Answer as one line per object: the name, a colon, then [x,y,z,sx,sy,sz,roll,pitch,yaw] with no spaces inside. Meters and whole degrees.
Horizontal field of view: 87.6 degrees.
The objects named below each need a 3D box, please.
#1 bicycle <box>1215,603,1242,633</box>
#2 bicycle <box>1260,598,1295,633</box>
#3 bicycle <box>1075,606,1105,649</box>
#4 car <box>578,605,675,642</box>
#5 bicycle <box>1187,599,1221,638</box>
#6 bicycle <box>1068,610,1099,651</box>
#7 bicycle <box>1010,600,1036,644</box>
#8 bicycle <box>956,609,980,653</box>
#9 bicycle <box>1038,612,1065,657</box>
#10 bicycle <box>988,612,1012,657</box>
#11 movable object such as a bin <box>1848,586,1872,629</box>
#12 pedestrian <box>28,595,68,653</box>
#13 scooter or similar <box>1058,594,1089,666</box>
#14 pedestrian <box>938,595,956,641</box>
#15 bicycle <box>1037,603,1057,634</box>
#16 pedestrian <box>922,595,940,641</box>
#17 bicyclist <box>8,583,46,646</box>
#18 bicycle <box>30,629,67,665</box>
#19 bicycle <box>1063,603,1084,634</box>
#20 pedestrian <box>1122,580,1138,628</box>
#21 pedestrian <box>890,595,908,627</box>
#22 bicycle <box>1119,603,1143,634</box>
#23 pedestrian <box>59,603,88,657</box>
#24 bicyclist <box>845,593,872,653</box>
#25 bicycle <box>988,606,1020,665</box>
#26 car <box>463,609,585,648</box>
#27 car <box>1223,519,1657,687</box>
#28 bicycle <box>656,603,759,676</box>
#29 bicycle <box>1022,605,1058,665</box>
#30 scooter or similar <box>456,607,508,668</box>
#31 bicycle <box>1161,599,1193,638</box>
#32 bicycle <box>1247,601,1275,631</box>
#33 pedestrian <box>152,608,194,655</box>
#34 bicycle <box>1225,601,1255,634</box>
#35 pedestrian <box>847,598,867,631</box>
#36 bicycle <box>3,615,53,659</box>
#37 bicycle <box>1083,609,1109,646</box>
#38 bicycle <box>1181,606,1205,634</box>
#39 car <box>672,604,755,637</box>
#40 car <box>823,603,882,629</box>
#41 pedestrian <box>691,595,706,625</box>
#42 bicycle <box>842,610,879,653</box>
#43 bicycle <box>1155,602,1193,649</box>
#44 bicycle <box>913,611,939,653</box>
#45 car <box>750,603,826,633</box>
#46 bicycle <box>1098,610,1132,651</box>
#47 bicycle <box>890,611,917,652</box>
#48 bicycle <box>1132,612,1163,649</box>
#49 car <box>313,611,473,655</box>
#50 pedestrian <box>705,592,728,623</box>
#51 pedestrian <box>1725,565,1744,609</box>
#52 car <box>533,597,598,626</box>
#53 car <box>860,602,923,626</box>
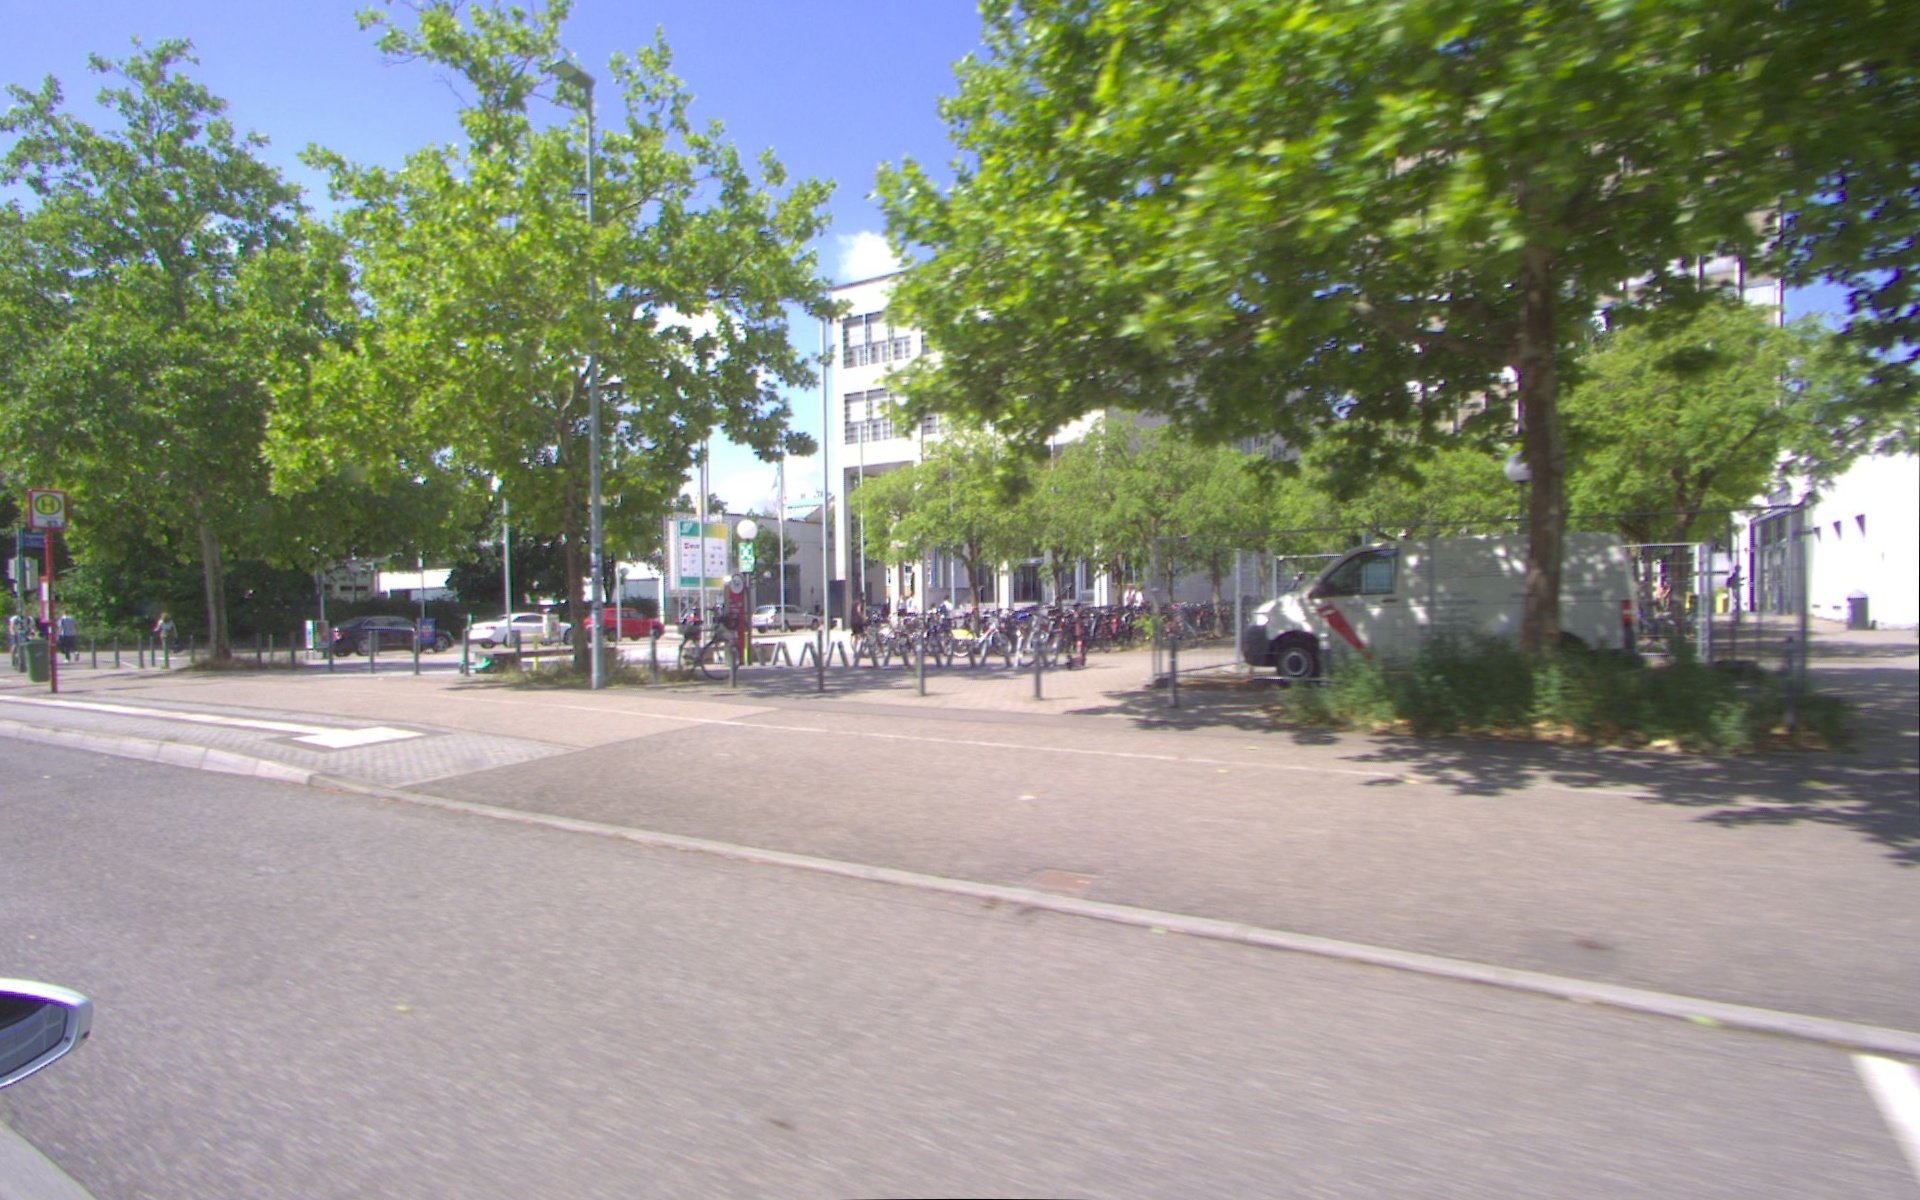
bicycle: [10.479,0.715,39.150,0.592,1.113,1.768,0,-2,1]
bicycle: [10.474,0.524,33.093,0.592,1.113,1.768,0,-2,1]
bicycle: [3.463,0.724,26.788,0.592,1.113,1.767,0,0,1]
car: [-15.225,1.040,45.887,1.597,1.516,4.124,-3,-1,32]
bicycle: [7.205,0.572,29.658,0.592,1.113,1.768,0,-2,1]
bicycle: [3.043,0.740,24.846,0.592,0.967,1.767,0,0,1]
bicycle: [1.660,0.567,26.387,0.592,1.113,1.767,-1,0,1]
bicycle: [0.212,0.824,26.191,0.592,1.113,1.768,0,-2,1]
bicycle: [2.388,0.879,26.300,0.592,1.113,1.767,0,0,1]
bicycle: [1.016,0.871,25.964,0.592,1.113,1.768,0,0,1]
movable object such as a bin: [22.687,0.194,25.235,0.362,1.069,0.387,-1,2,27]
pedestrian: [-29.688,0.777,32.591,1.164,1.843,0.849,1,-2,45]
scooter or similar: [2.047,0.531,17.996,0.276,1.249,1.297,-2,-1,17]
pedestrian: [-0.503,0.694,38.366,0.622,1.769,0.717,0,-1,4]
bicycle: [3.216,0.698,37.181,0.592,1.113,1.768,0,-2,1]
pedestrian: [-1.126,0.700,38.470,0.622,1.769,0.717,0,-1,4]
bicyclist: [-28.376,0.447,30.469,0.751,1.869,0.659,-1,-1,32]
bicycle: [-29.671,1.521,32.590,1.871,1.087,0.810,0,0,45]
bicycle: [4.133,0.685,36.615,0.592,1.113,1.768,0,-2,1]
pedestrian: [8.036,0.182,47.344,0.622,2.258,0.717,0,-1,1]
pedestrian: [-3.310,0.604,54.260,0.625,1.688,0.712,0,1,34]
bicycle: [6.188,0.685,36.275,0.592,1.113,1.768,0,-2,1]
pedestrian: [-30.408,1.016,34.345,0.695,1.845,0.667,1,1,43]
bicyclist: [-2.737,0.605,27.131,0.650,1.585,0.933,-1,0,-3]
bicycle: [0.850,0.693,19.574,0.592,1.113,1.768,0,-2,1]
car: [-17.981,1.137,41.477,1.700,1.418,4.416,-4,-2,31]
car: [6.172,0.094,13.303,4.867,1.889,1.895,-1,-1,29]
bicycle: [-4.413,0.685,17.415,2.009,1.198,0.793,-2,-2,43]
bicycle: [1.532,0.677,19.461,0.592,1.113,1.768,0,-2,1]
scooter or similar: [-9.403,0.734,19.672,1.176,1.180,0.352,-1,-1,33]
bicycle: [6.413,0.558,29.679,0.592,1.113,1.768,0,-2,1]
bicycle: [11.710,0.639,39.019,0.592,1.113,1.768,0,-2,1]
pedestrian: [-28.723,1.144,36.550,1.005,1.649,0.853,1,2,30]
bicycle: [9.738,0.609,34.875,0.592,1.113,1.768,0,-2,1]
pedestrian: [-5.018,0.721,48.794,0.711,1.605,0.712,-1,-1,38]
bicycle: [-28.325,1.130,30.421,1.848,1.313,0.659,-1,-2,33]
bicycle: [4.167,0.851,30.784,0.592,1.113,1.768,0,-2,1]
bicycle: [9.448,0.817,40.601,0.592,1.113,1.768,0,-2,1]
car: [-12.377,1.003,50.465,1.700,1.549,3.979,-1,0,32]
car: [-6.504,0.941,60.935,1.595,1.516,3.988,-1,0,30]
pedestrian: [-17.522,0.659,67.081,0.725,1.951,0.779,-1,1,-36]
bicycle: [-2.673,0.857,27.171,0.886,1.092,2.155,-1,-2,-3]
bicycle: [5.242,0.644,24.609,0.592,1.113,1.768,0,-2,1]
bicycle: [-0.906,0.876,27.161,0.592,1.113,1.768,0,-2,1]
car: [-9.414,0.964,55.189,1.699,1.549,4.547,-3,-1,28]
bicycle: [3.833,0.737,24.828,0.592,0.967,1.767,0,0,1]
bicycle: [-1.557,0.873,27.847,0.592,1.113,1.768,0,-2,1]
bicycle: [4.625,0.741,24.810,0.475,0.880,1.767,0,0,1]
car: [-20.779,1.169,36.946,1.699,1.418,4.923,-3,-1,31]
pedestrian: [-15.738,0.483,64.736,1.083,1.945,1.015,-1,1,32]
pedestrian: [30.596,-0.515,39.564,0.499,1.740,0.443,-1,2,27]
car: [-28.247,0.847,71.667,4.868,2.012,1.989,-1,-1,34]
car: [-4.389,0.865,64.794,1.845,1.484,4.497,-1,0,31]
